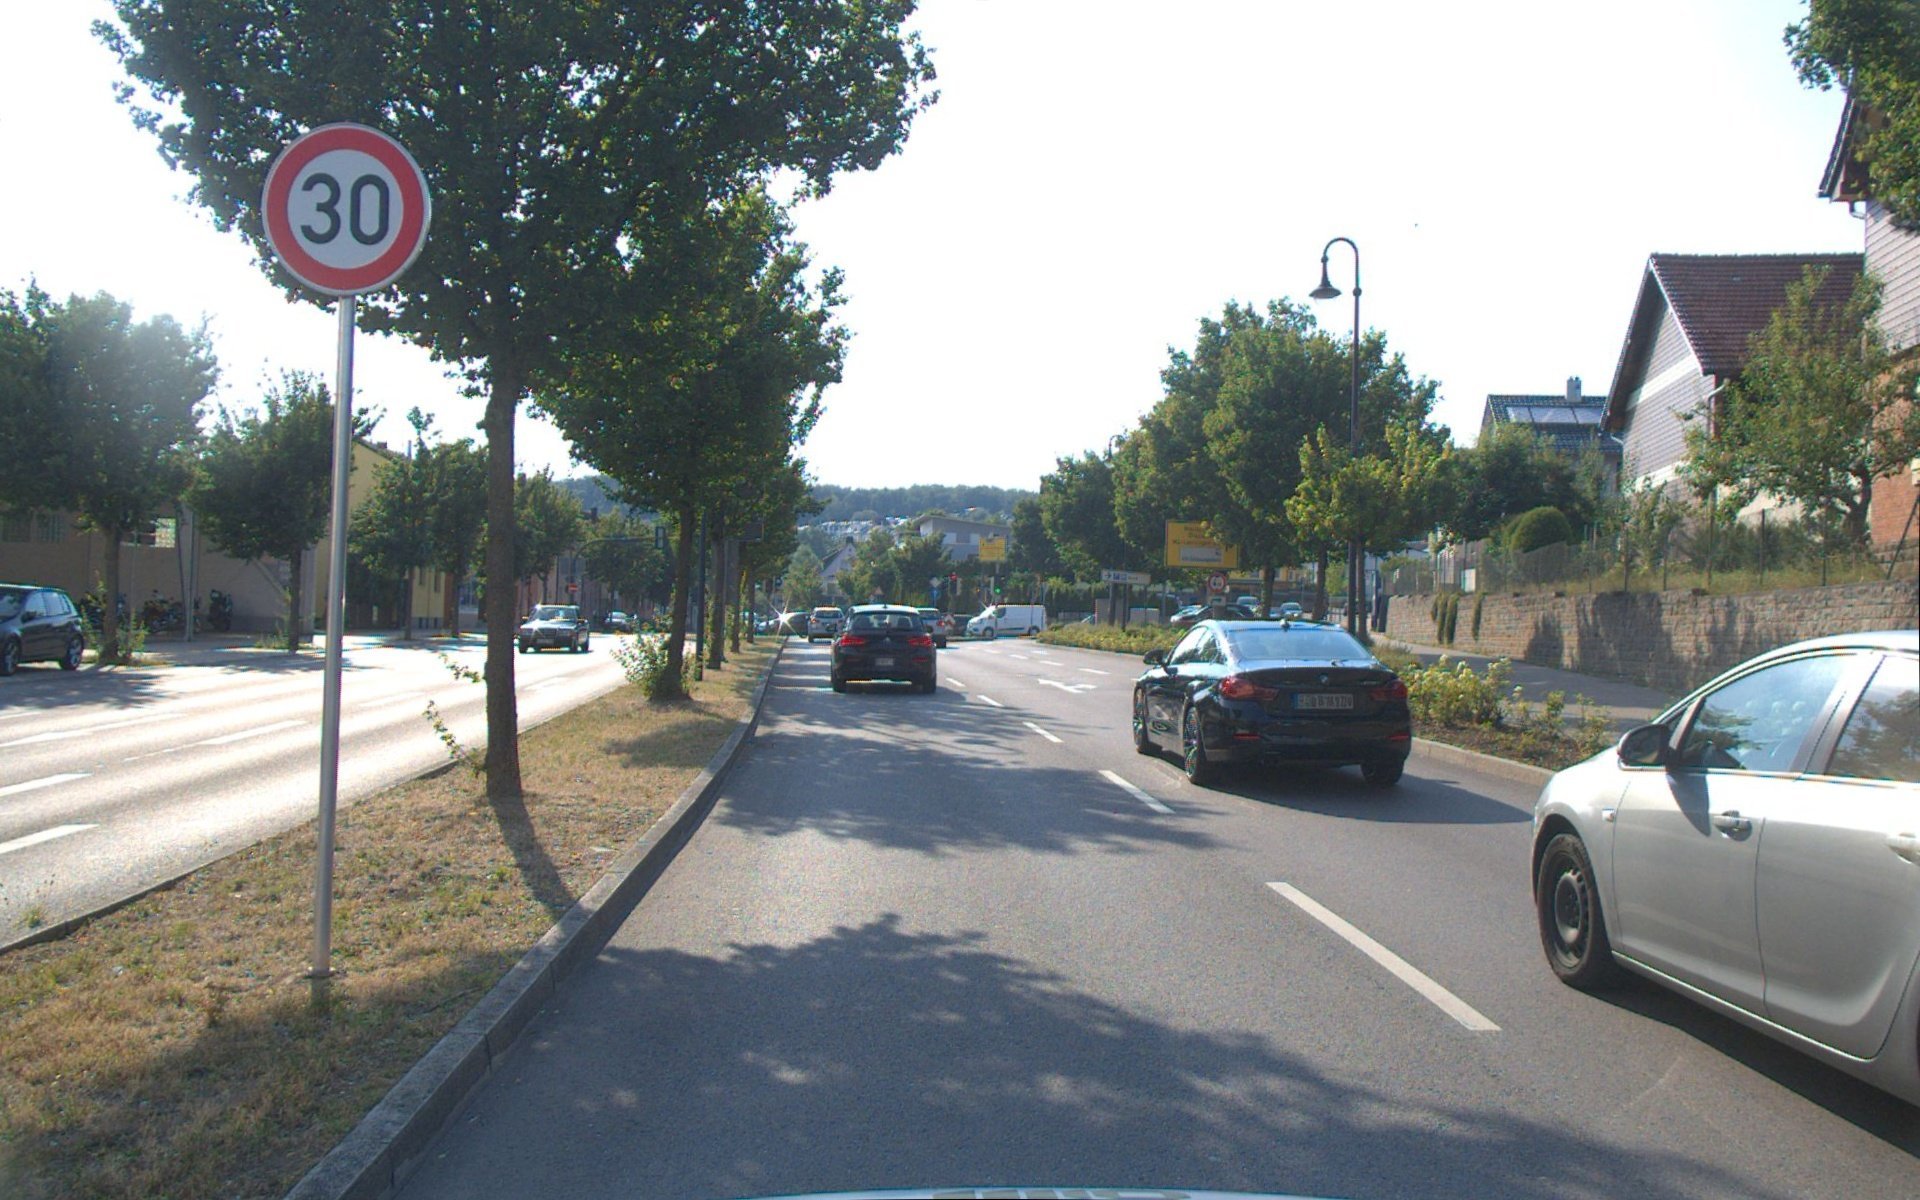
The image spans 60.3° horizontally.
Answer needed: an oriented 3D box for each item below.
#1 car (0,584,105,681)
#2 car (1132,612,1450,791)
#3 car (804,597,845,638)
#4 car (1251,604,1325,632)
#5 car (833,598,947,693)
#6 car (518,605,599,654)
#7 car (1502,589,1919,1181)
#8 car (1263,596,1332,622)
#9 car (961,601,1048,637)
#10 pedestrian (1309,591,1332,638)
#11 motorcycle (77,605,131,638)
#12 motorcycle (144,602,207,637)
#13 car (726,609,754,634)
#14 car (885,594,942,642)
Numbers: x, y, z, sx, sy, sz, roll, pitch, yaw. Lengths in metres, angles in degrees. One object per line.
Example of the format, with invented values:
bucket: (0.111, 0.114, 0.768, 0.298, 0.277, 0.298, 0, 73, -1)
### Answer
car: (-16.681, 0.514, 28.702, 1.722, 1.479, 4.128, 5, 0, -5)
car: (2.825, 0.812, 15.151, 1.882, 1.388, 4.350, 0, 0, -3)
car: (-6.047, 0.756, 73.623, 1.722, 1.800, 3.966, 0, 0, -6)
car: (22.223, 1.195, 112.258, 4.544, 1.861, 1.996, 0, 0, -9)
car: (-1.156, 0.734, 29.020, 1.685, 1.516, 4.353, 1, 0, 1)
car: (-11.805, 0.840, 48.906, 1.722, 1.385, 4.479, 0, 0, -6)
car: (3.303, 0.729, 5.277, 1.686, 1.516, 4.306, 0, 1, -1)
car: (24.702, 0.667, 121.065, 4.544, 1.861, 1.996, 0, 0, -9)
car: (2.720, 1.178, 101.588, 5.021, 2.167, 2.139, 0, 0, -14)
pedestrian: (13.432, 0.549, 61.573, 0.681, 1.732, 0.950, 0, 0, 3)
motorcycle: (-27.293, 0.670, 52.760, 0.505, 1.022, 1.541, 0, 0, 25)
motorcycle: (-25.088, 0.620, 52.897, 0.506, 1.088, 1.866, 0, 0, 30)
car: (-15.195, 1.476, 114.448, 1.696, 1.708, 3.996, 0, 0, -4)
car: (-1.845, 0.684, 64.156, 1.888, 1.800, 4.448, 0, 0, -6)
